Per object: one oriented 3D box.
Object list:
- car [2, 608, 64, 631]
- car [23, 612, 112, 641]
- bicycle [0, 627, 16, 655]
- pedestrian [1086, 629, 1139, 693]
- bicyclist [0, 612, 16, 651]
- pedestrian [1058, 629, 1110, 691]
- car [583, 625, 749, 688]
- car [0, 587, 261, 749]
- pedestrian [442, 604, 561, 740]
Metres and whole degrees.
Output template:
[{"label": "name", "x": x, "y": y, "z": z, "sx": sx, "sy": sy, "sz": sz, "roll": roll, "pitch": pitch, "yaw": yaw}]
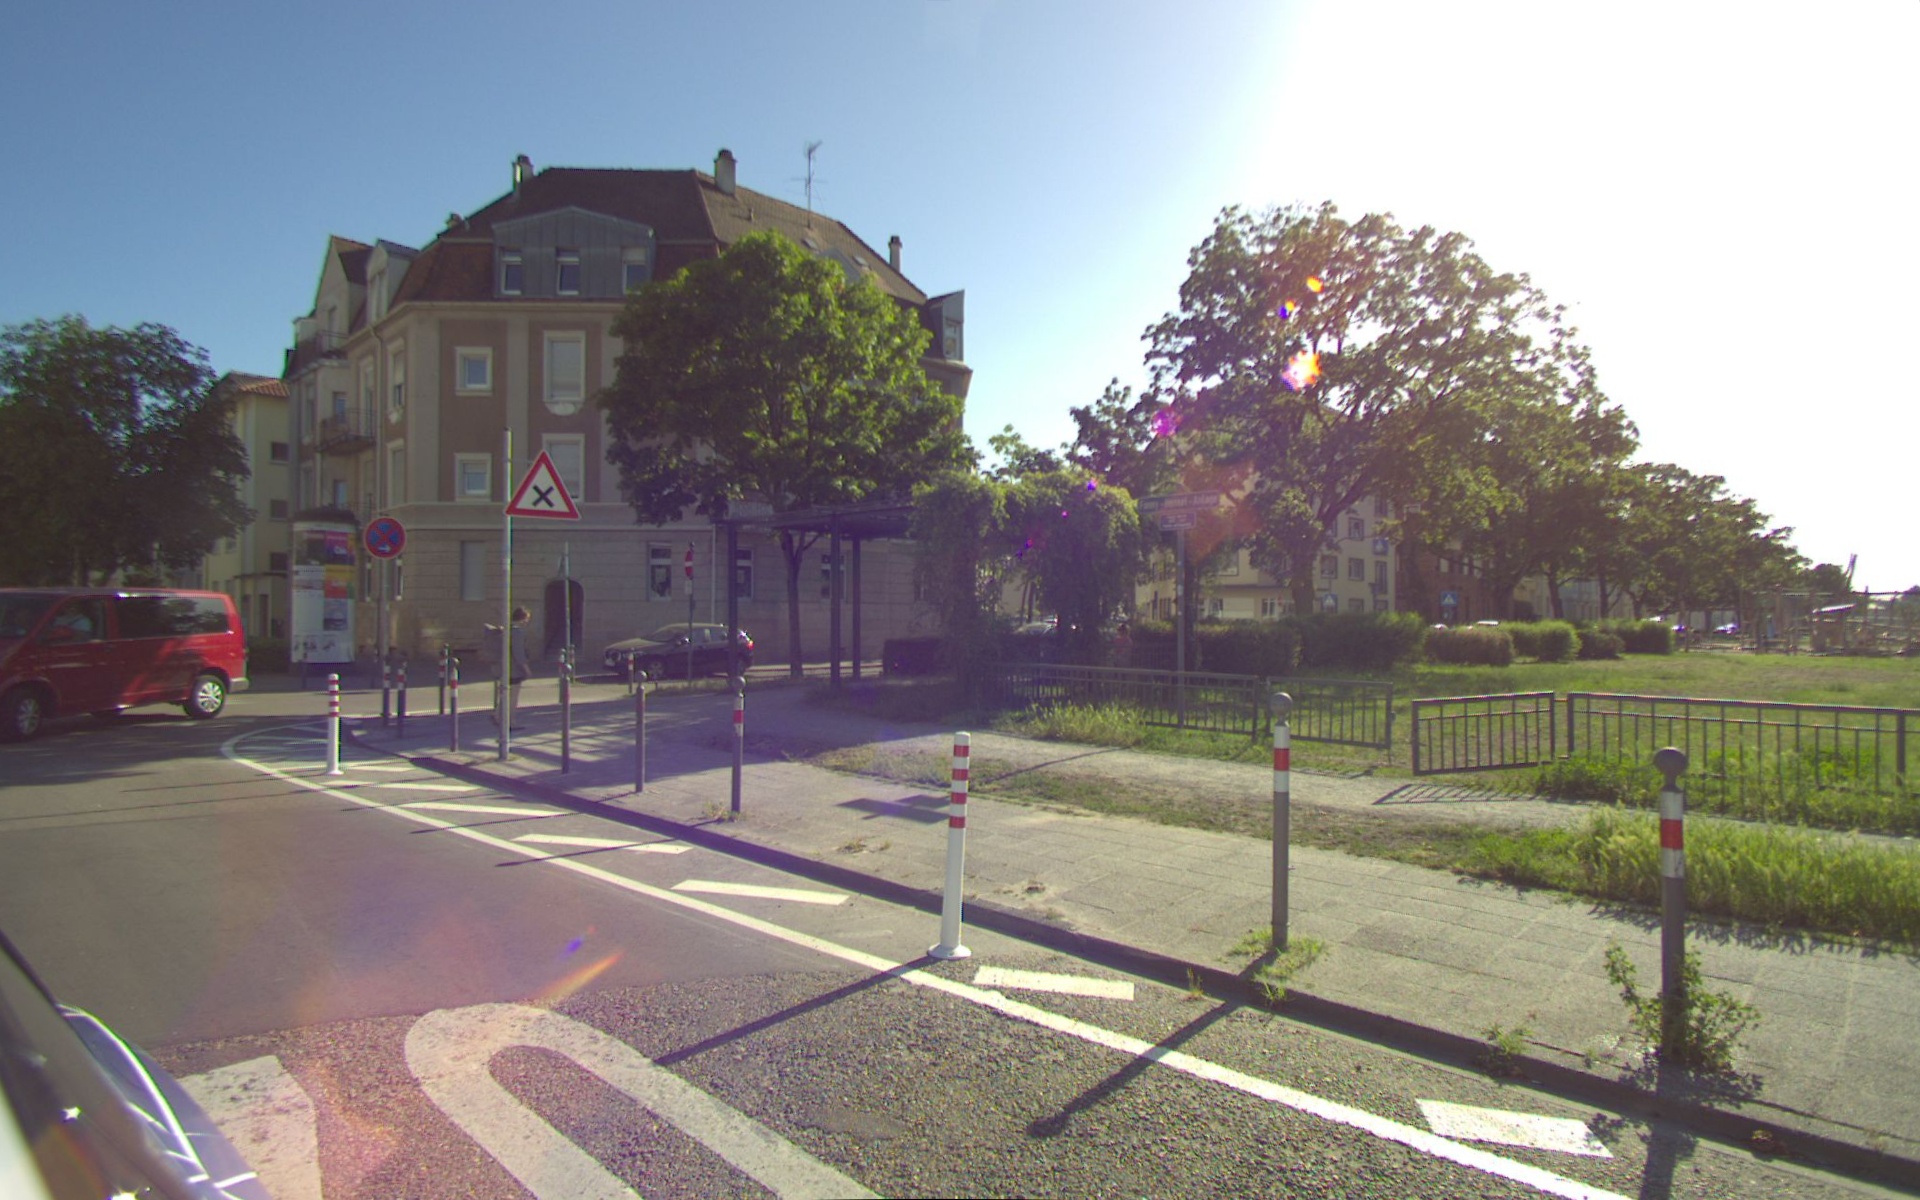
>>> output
[{"label": "car", "x": -72.841, "y": 1.528, "z": 79.533, "sx": 1.692, "sy": 1.716, "sz": 3.481, "roll": -1, "pitch": -1, "yaw": 42}, {"label": "car", "x": -49.822, "y": 1.451, "z": 56.537, "sx": 1.690, "sy": 1.506, "sz": 3.484, "roll": -1, "pitch": -1, "yaw": 39}, {"label": "bicycle", "x": -40.334, "y": 1.719, "z": 42.707, "sx": 0.635, "sy": 1.117, "sz": 2.066, "roll": 2, "pitch": -2, "yaw": -45}, {"label": "pedestrian", "x": 2.846, "y": 1.120, "z": 18.882, "sx": 0.599, "sy": 1.147, "sz": 0.862, "roll": -1, "pitch": -2, "yaw": 45}, {"label": "bicyclist", "x": -40.305, "y": 1.324, "z": 42.687, "sx": 0.635, "sy": 1.632, "sz": 0.637, "roll": 2, "pitch": -2, "yaw": -45}, {"label": "pedestrian", "x": 2.376, "y": 1.132, "z": 19.376, "sx": 0.833, "sy": 1.158, "sz": 0.599, "roll": 2, "pitch": -2, "yaw": -45}, {"label": "car", "x": -8.018, "y": 1.498, "z": 27.833, "sx": 1.867, "sy": 1.494, "sz": 3.960, "roll": 3, "pitch": 1, "yaw": 41}, {"label": "car", "x": -12.545, "y": 0.827, "z": 14.155, "sx": 1.873, "sy": 1.975, "sz": 4.880, "roll": 1, "pitch": 0, "yaw": 4}, {"label": "pedestrian", "x": -6.115, "y": 0.922, "z": 13.530, "sx": 0.909, "sy": 1.686, "sz": 1.080, "roll": 0, "pitch": 1, "yaw": 27}]
